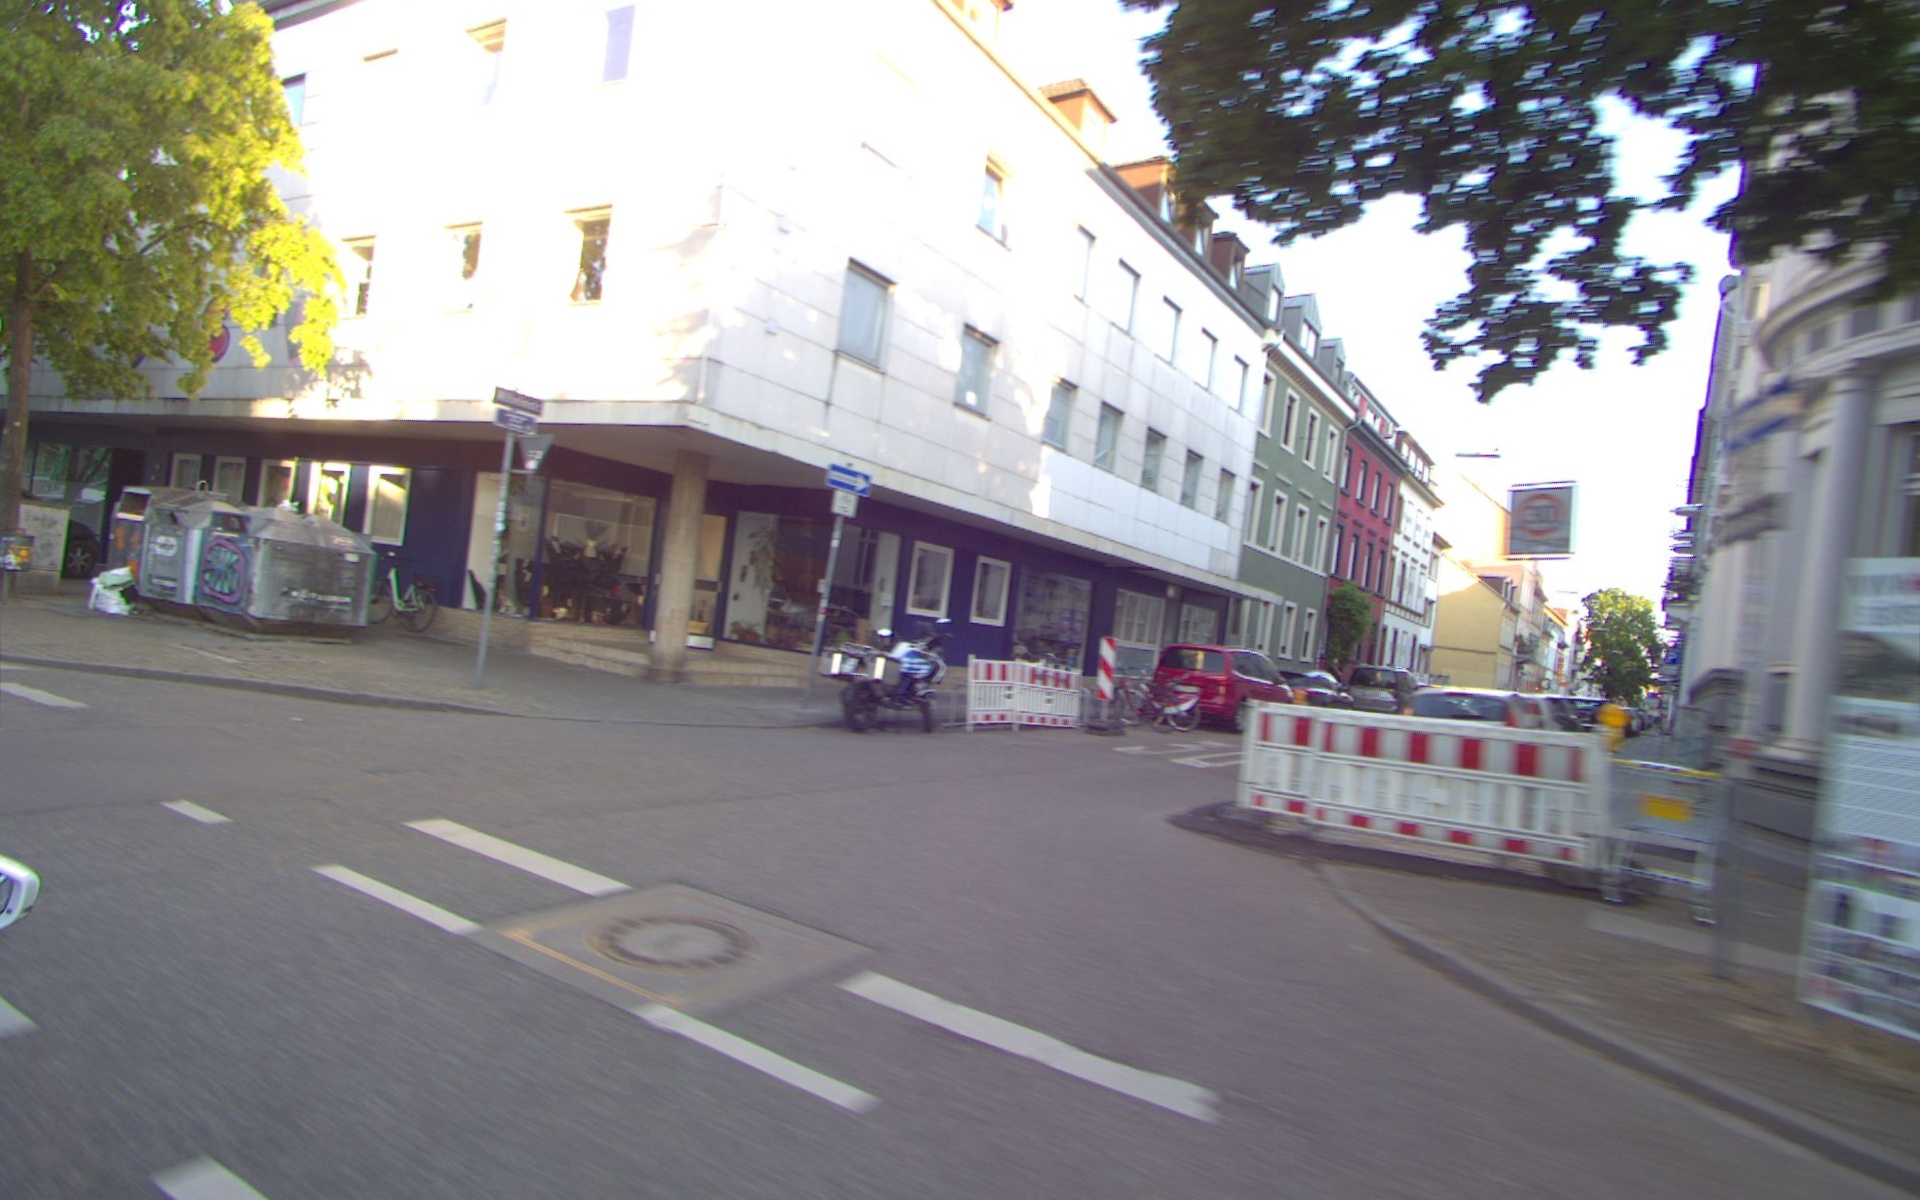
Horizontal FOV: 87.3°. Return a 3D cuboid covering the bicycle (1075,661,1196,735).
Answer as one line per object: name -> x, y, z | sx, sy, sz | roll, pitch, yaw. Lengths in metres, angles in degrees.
bicycle -> 3.200, 1.778, 18.472 | 2.067, 1.069, 0.590 | 6, -1, 38

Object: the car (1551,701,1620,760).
car -> 23.091, 4.767, 37.064 | 1.825, 1.785, 3.889 | 7, -1, 35

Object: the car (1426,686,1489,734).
car -> 22.556, 4.957, 45.525 | 1.825, 1.827, 3.889 | 7, -1, 35

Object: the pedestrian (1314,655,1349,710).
pedestrian -> 13.680, 3.042, 37.003 | 0.787, 1.923, 0.990 | 7, 0, 34

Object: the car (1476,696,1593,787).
car -> 13.023, 3.119, 22.702 | 1.825, 1.596, 3.889 | 7, -1, 35

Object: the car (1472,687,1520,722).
car -> 30.371, 5.927, 56.950 | 1.825, 1.680, 3.805 | 7, -1, 35

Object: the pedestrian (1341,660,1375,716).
pedestrian -> 14.435, 3.177, 36.484 | 0.787, 1.923, 0.732 | 7, 0, 34

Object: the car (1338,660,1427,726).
car -> 14.161, 3.110, 33.583 | 1.825, 1.827, 3.889 | 7, -1, 35

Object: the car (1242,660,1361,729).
car -> 8.918, 2.454, 26.080 | 1.825, 1.402, 3.889 | 7, -1, 35

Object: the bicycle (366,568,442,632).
bicycle -> -8.947, -0.001, 16.182 | 1.303, 0.894, 0.341 | 7, 3, 27

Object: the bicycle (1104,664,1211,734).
bicycle -> 3.754, 1.870, 19.164 | 1.838, 1.069, 0.526 | 6, -1, 26

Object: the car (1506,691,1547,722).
car -> 37.255, 6.996, 66.135 | 1.825, 1.680, 3.805 | 7, -1, 35

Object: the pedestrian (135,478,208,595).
pedestrian -> -14.282, -1.141, 18.224 | 0.772, 2.011, 0.692 | 7, 2, 29

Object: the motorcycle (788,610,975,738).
motorcycle -> -0.988, 0.991, 13.202 | 1.270, 1.421, 2.092 | 6, -2, 36

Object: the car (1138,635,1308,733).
car -> 5.742, 1.844, 21.603 | 1.826, 1.688, 4.347 | 7, -1, 38

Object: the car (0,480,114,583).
car -> -16.755, -1.227, 16.835 | 1.809, 1.686, 4.161 | 6, 1, -5

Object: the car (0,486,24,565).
car -> -19.482, -1.511, 18.018 | 1.780, 1.521, 3.890 | 6, 1, -1

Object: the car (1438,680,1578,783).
car -> 10.574, 2.461, 19.263 | 1.825, 1.510, 3.889 | 7, -1, 35

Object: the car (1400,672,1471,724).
car -> 19.401, 4.005, 40.952 | 1.825, 1.785, 3.889 | 7, -1, 35

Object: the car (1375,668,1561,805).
car -> 7.644, 1.951, 14.937 | 1.825, 1.509, 3.889 | 7, -1, 35
